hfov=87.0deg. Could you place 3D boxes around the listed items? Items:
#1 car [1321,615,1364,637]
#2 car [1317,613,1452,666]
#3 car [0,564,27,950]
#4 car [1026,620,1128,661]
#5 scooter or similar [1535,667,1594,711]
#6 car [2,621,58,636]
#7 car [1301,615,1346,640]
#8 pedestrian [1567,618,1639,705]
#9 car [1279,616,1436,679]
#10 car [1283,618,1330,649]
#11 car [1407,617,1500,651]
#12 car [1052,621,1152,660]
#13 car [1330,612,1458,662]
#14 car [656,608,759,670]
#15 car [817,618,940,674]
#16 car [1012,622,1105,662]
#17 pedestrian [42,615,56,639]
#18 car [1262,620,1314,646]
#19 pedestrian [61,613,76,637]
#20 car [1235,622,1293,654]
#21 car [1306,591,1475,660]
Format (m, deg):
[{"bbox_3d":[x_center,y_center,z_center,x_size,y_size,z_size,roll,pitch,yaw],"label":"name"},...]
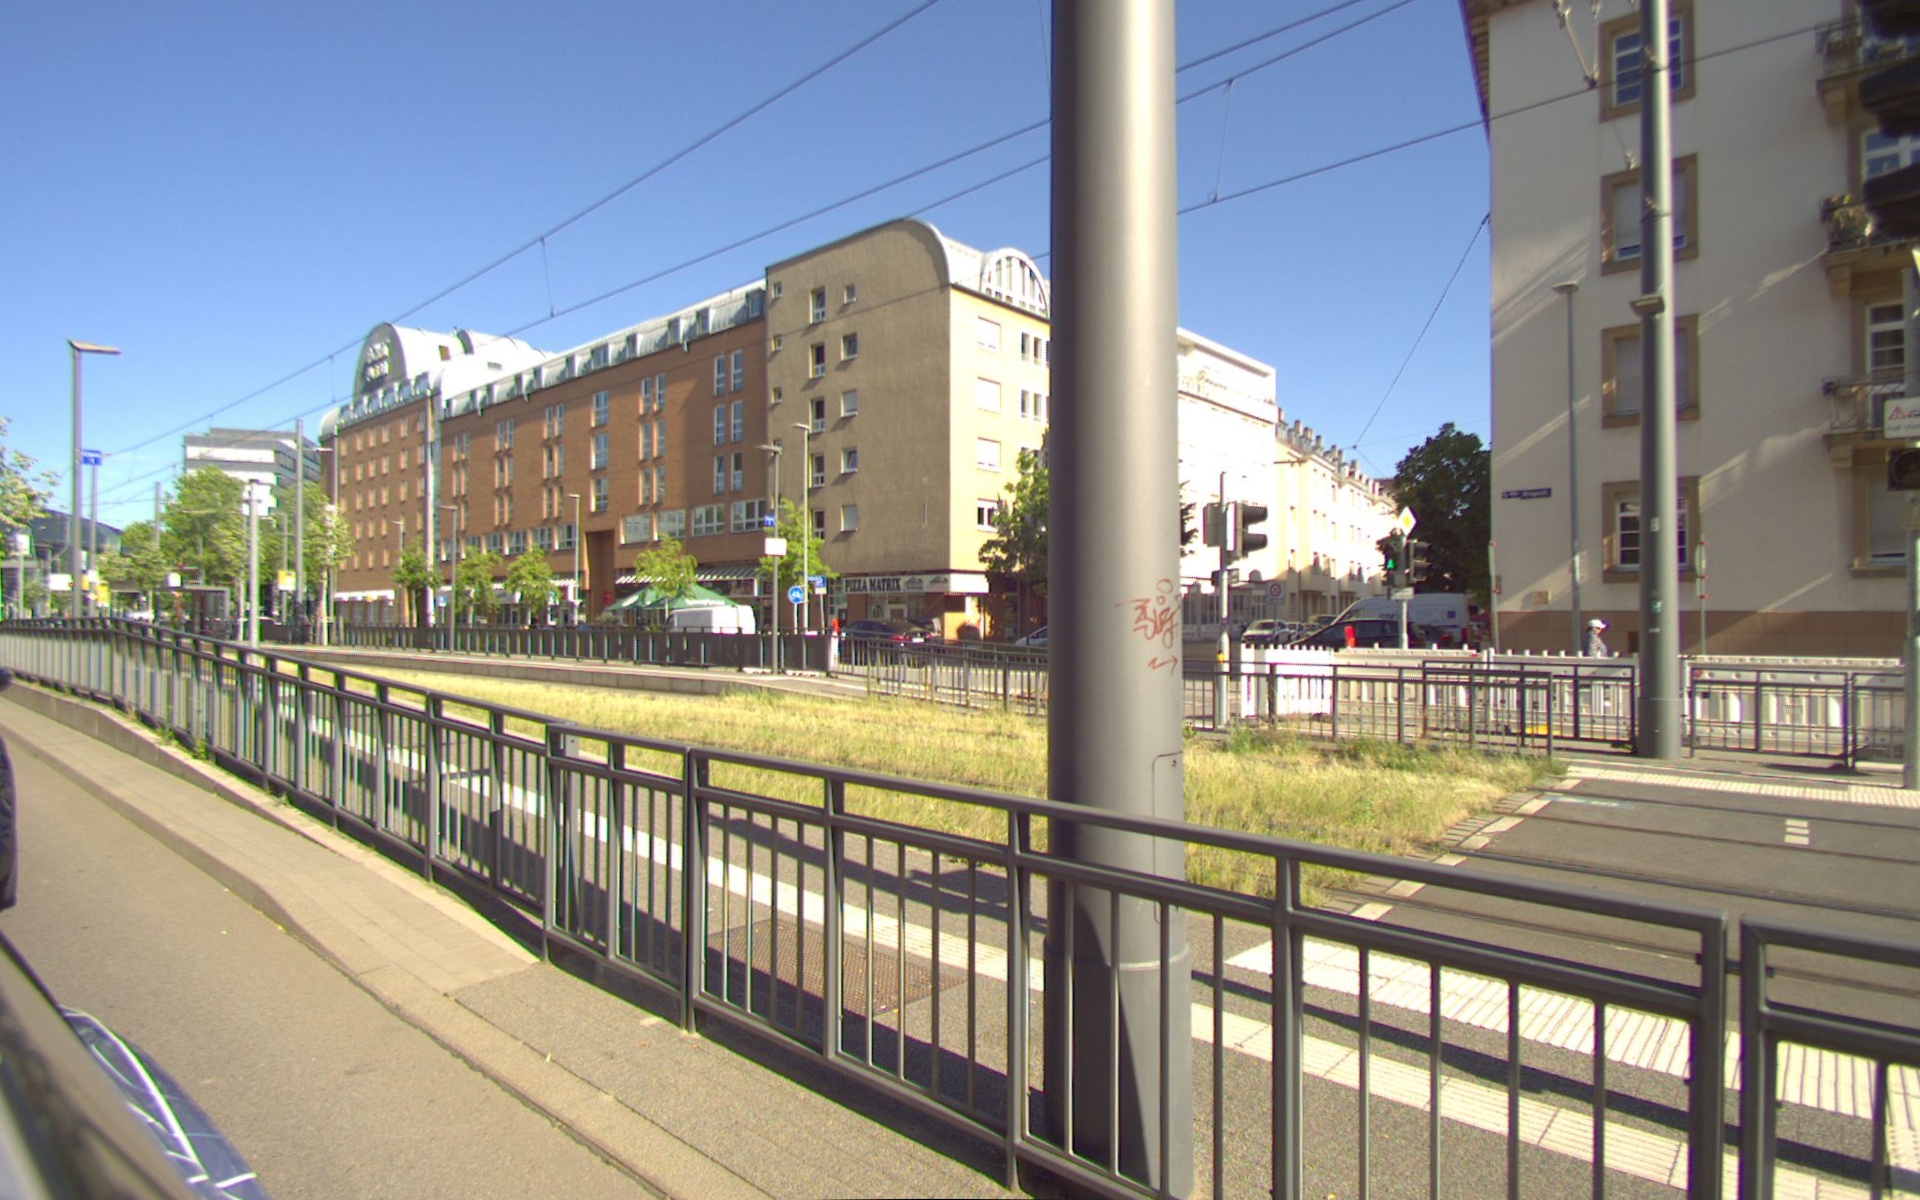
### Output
[{"bbox_3d":[27.061,1.857,71.536,1.995,1.473,4.137,0,-2,34],"label":"car"},{"bbox_3d":[14.453,1.298,34.491,3.989,1.652,1.848,0,0,34],"label":"car"},{"bbox_3d":[-6.161,0.709,5.040,4.418,1.597,1.736,-1,1,41],"label":"car"},{"bbox_3d":[4.781,1.636,41.497,3.955,1.563,1.457,0,0,33],"label":"car"},{"bbox_3d":[10.772,1.579,18.053,0.598,0.725,0.711,0,-1,-1],"label":"scooter or similar"},{"bbox_3d":[-101.198,3.071,110.163,1.759,1.567,4.359,-1,-2,41],"label":"car"},{"bbox_3d":[24.071,1.833,66.970,1.993,1.630,4.141,0,-2,31],"label":"car"},{"bbox_3d":[11.462,1.079,18.068,0.794,1.515,0.711,0,-1,-1],"label":"pedestrian"},{"bbox_3d":[11.721,1.343,29.930,3.994,1.652,1.845,0,0,38],"label":"car"},{"bbox_3d":[21.571,2.055,62.925,1.839,1.730,4.033,0,0,34],"label":"car"},{"bbox_3d":[24.515,1.641,50.293,3.988,1.567,1.848,0,0,33],"label":"car"},{"bbox_3d":[6.092,1.712,43.715,3.997,1.497,1.693,0,0,40],"label":"car"},{"bbox_3d":[15.581,1.280,36.379,3.989,1.652,1.848,0,0,34],"label":"car"},{"bbox_3d":[-10.331,1.505,41.140,1.969,2.314,5.197,-1,0,-41],"label":"car"},{"bbox_3d":[-2.710,1.465,33.128,3.996,1.652,1.677,0,0,39],"label":"car"},{"bbox_3d":[3.849,1.626,39.474,3.334,1.438,1.424,0,0,29],"label":"car"},{"bbox_3d":[-73.141,2.152,81.279,0.591,1.903,0.744,1,-1,-25],"label":"pedestrian"},{"bbox_3d":[19.286,1.923,59.399,1.993,1.457,4.141,0,-2,31],"label":"car"},{"bbox_3d":[-68.902,1.927,78.232,0.810,1.903,0.769,1,-2,-44],"label":"pedestrian"},{"bbox_3d":[16.501,2.058,54.818,1.993,1.630,4.141,0,-2,31],"label":"car"},{"bbox_3d":[16.406,0.902,38.687,5.737,2.473,1.979,0,0,32],"label":"car"}]
